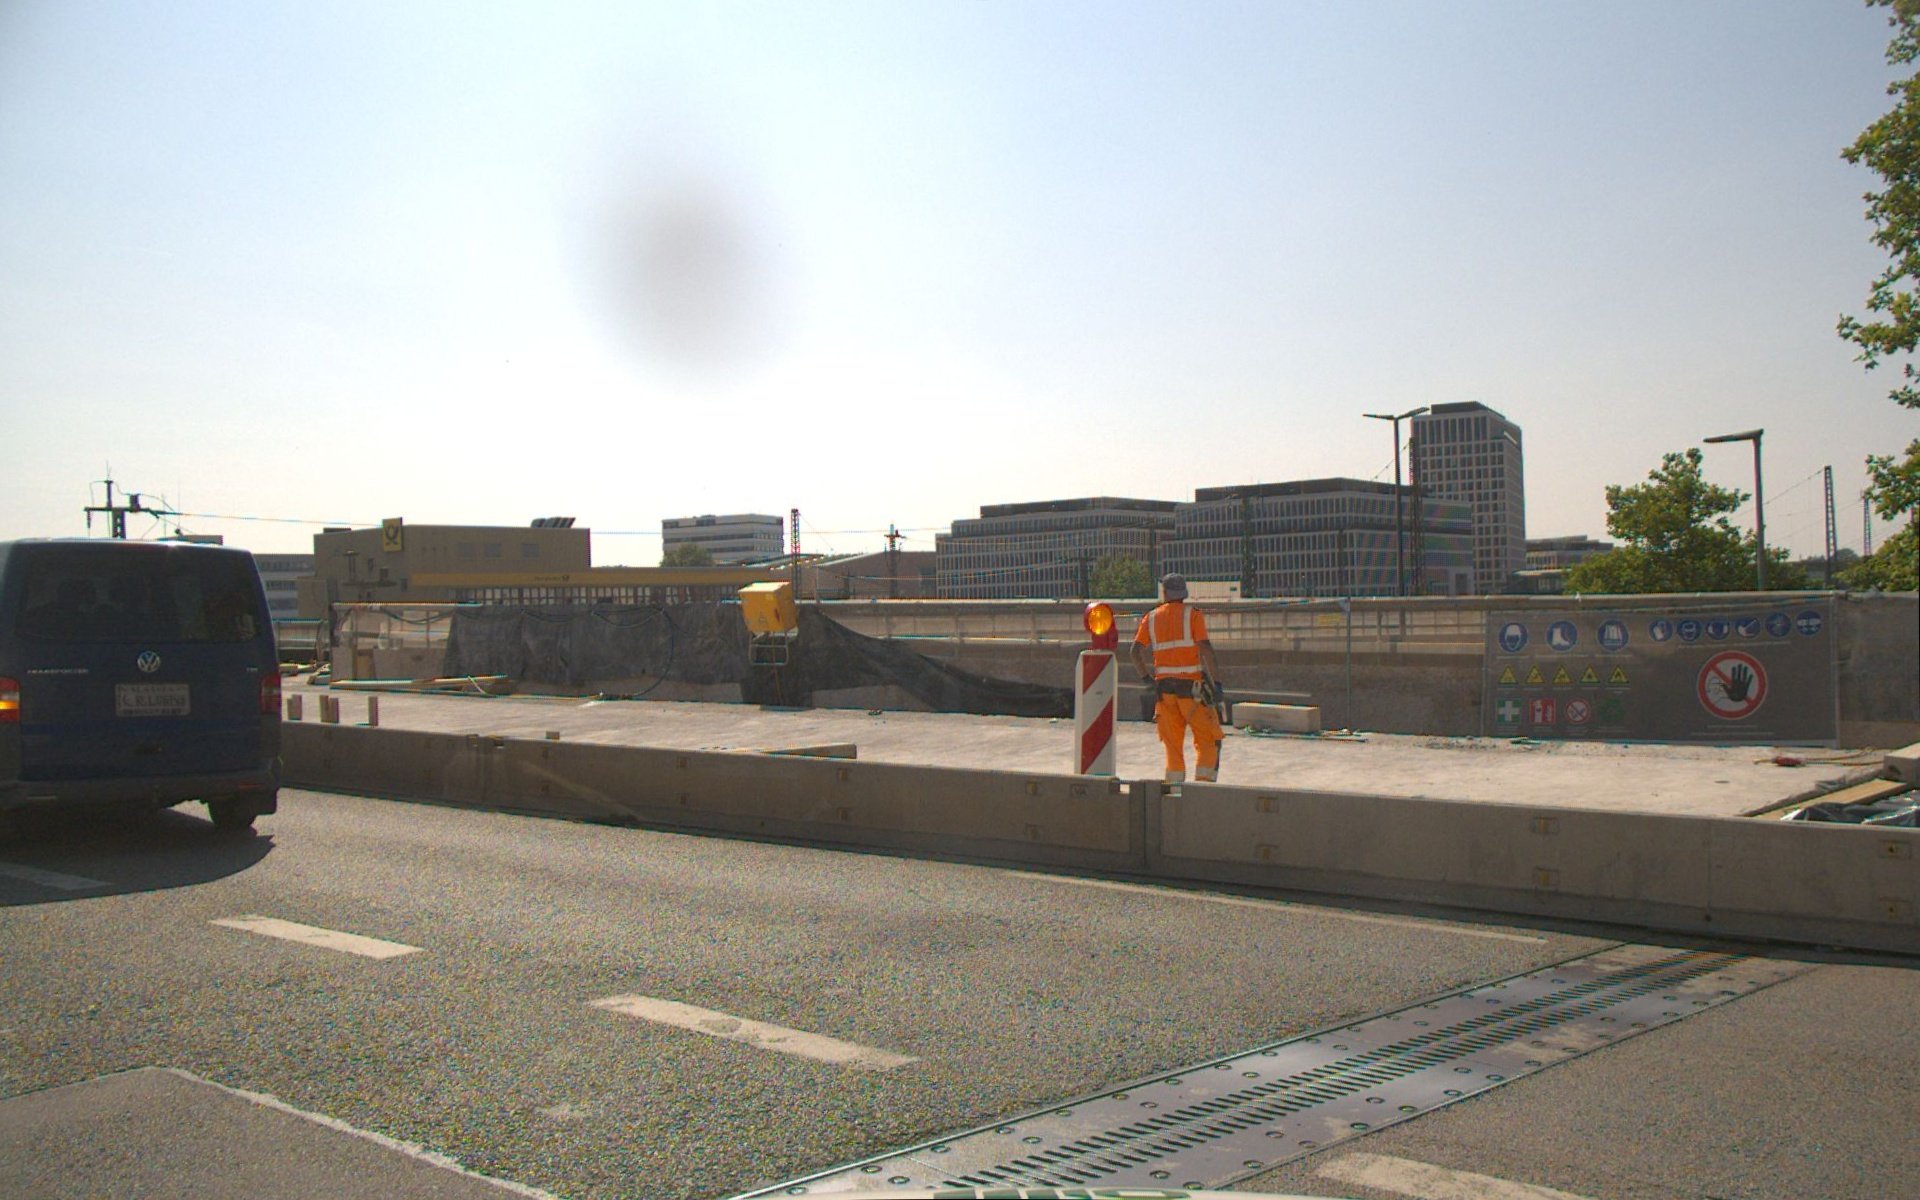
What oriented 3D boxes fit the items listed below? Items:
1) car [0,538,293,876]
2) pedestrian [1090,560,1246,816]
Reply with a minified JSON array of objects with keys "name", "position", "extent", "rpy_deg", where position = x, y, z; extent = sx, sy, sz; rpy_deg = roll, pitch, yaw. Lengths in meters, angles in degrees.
[{"name":"car","position":[-6.358,0.615,11.715],"extent":[1.806,1.938,3.994],"rpy_deg":[-3,2,-41]},{"name":"pedestrian","position":[1.584,0.638,12.538],"extent":[0.805,1.826,0.861],"rpy_deg":[-1,2,35]}]
